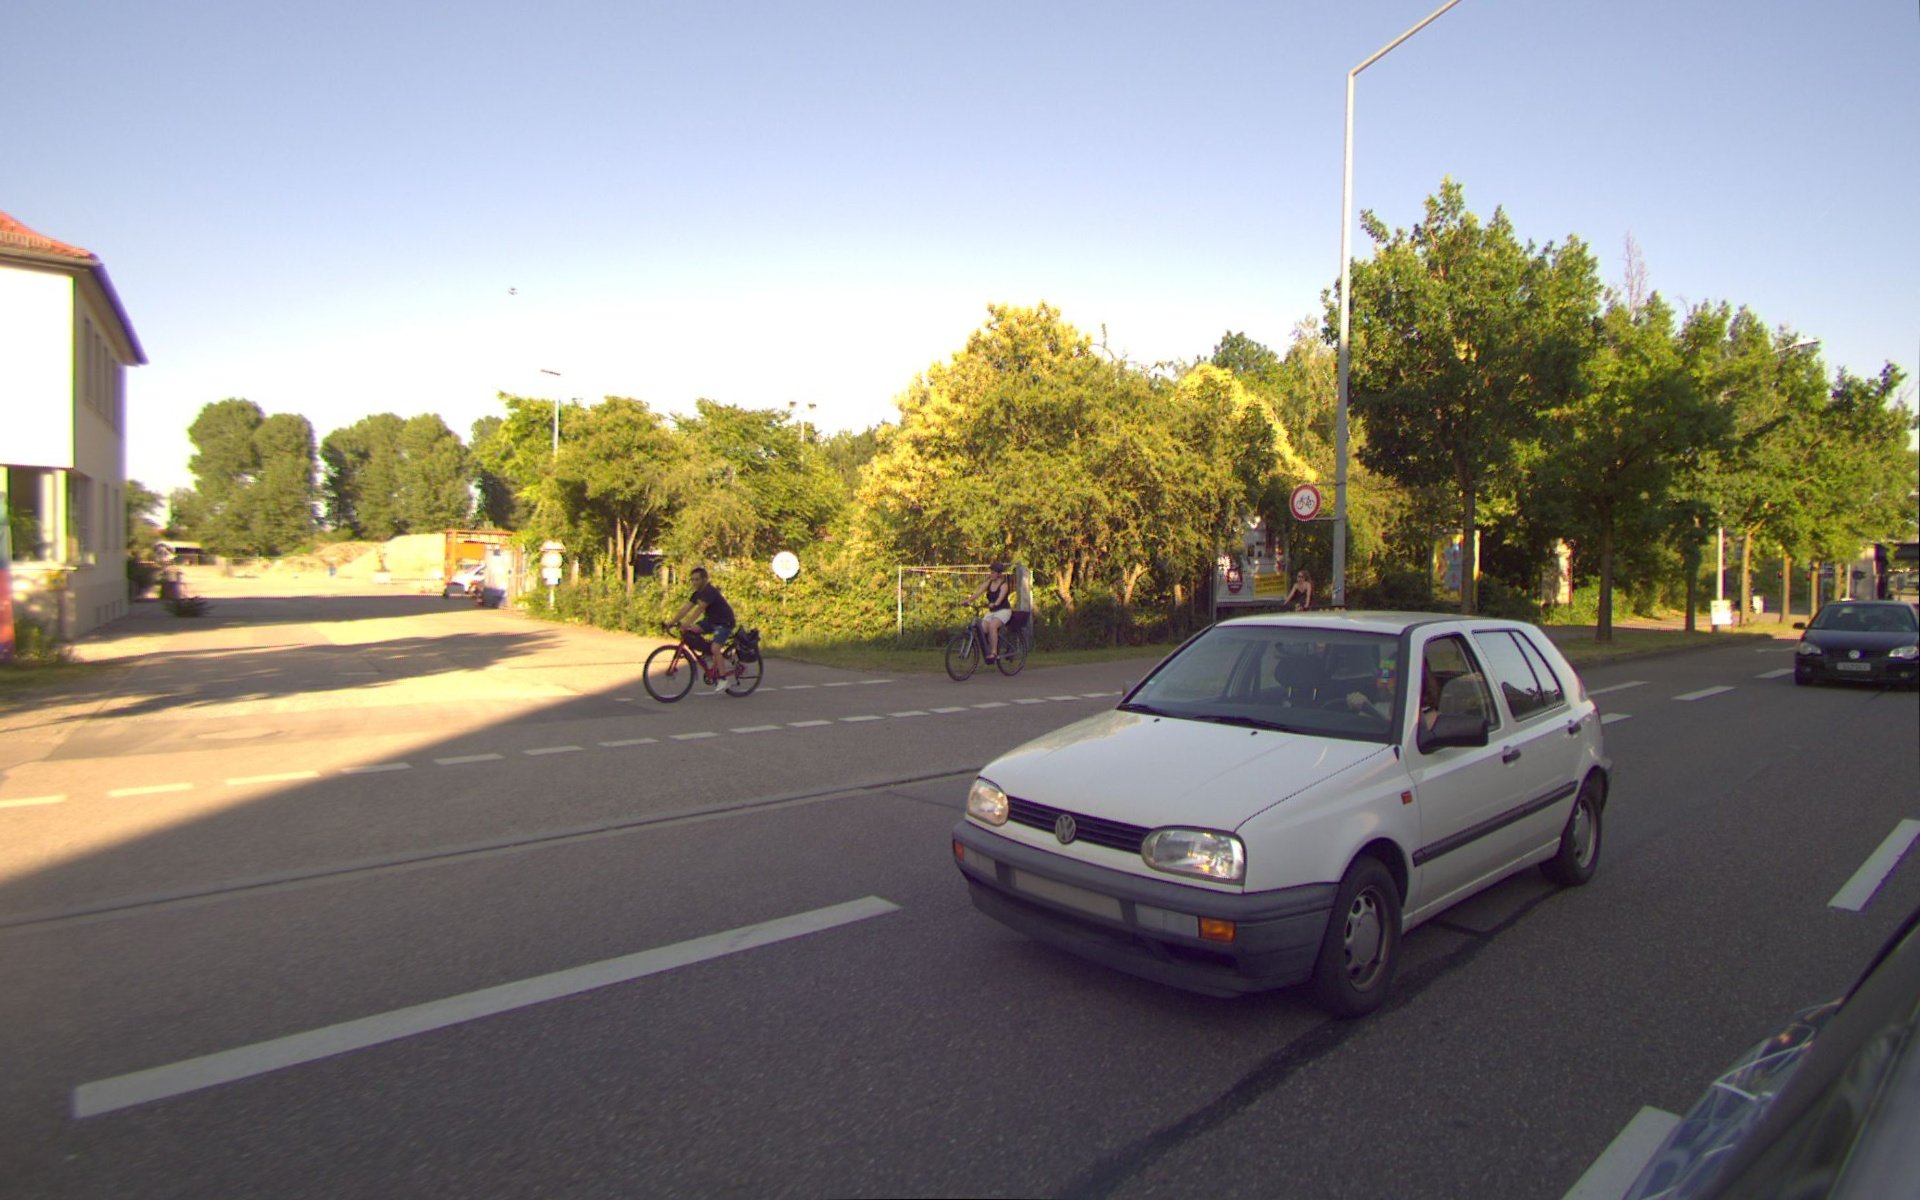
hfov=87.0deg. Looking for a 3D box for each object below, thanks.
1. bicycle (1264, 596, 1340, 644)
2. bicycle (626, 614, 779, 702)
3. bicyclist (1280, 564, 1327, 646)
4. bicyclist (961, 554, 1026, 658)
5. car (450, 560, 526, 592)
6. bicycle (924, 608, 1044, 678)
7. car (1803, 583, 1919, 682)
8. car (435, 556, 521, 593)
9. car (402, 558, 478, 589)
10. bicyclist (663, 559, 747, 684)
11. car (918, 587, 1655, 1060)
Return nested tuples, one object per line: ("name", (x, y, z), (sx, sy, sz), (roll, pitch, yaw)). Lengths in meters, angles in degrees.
("bicycle", (7.471, 0.416, 22.063), (2.023, 0.986, 0.618), (-1, 2, -41))
("bicycle", (-3.235, 0.696, 12.802), (1.790, 0.986, 0.618), (-1, 2, -41))
("bicyclist", (7.493, 0.096, 22.085), (0.833, 1.755, 0.604), (0, 1, -41))
("bicyclist", (0.536, 0.079, 16.151), (0.833, 1.598, 0.604), (0, 1, -41))
("car", (-29.034, -1.475, 62.256), (3.851, 1.905, 1.933), (0, 2, -41))
("bicycle", (0.411, 0.653, 16.063), (2.023, 0.986, 0.618), (-1, 2, -41))
("car", (15.844, 0.526, 17.346), (4.144, 1.518, 1.723), (1, -1, -44))
("car", (-25.887, -1.369, 54.406), (3.820, 1.905, 1.887), (0, 2, -41))
("car", (-32.317, -1.643, 62.964), (3.867, 1.905, 1.917), (0, 2, -41))
("bicyclist", (-3.227, 0.244, 12.804), (0.833, 1.520, 0.614), (0, 1, -41))
("car", (1.847, 0.701, 4.959), (3.967, 1.416, 1.613), (1, -1, -41))
